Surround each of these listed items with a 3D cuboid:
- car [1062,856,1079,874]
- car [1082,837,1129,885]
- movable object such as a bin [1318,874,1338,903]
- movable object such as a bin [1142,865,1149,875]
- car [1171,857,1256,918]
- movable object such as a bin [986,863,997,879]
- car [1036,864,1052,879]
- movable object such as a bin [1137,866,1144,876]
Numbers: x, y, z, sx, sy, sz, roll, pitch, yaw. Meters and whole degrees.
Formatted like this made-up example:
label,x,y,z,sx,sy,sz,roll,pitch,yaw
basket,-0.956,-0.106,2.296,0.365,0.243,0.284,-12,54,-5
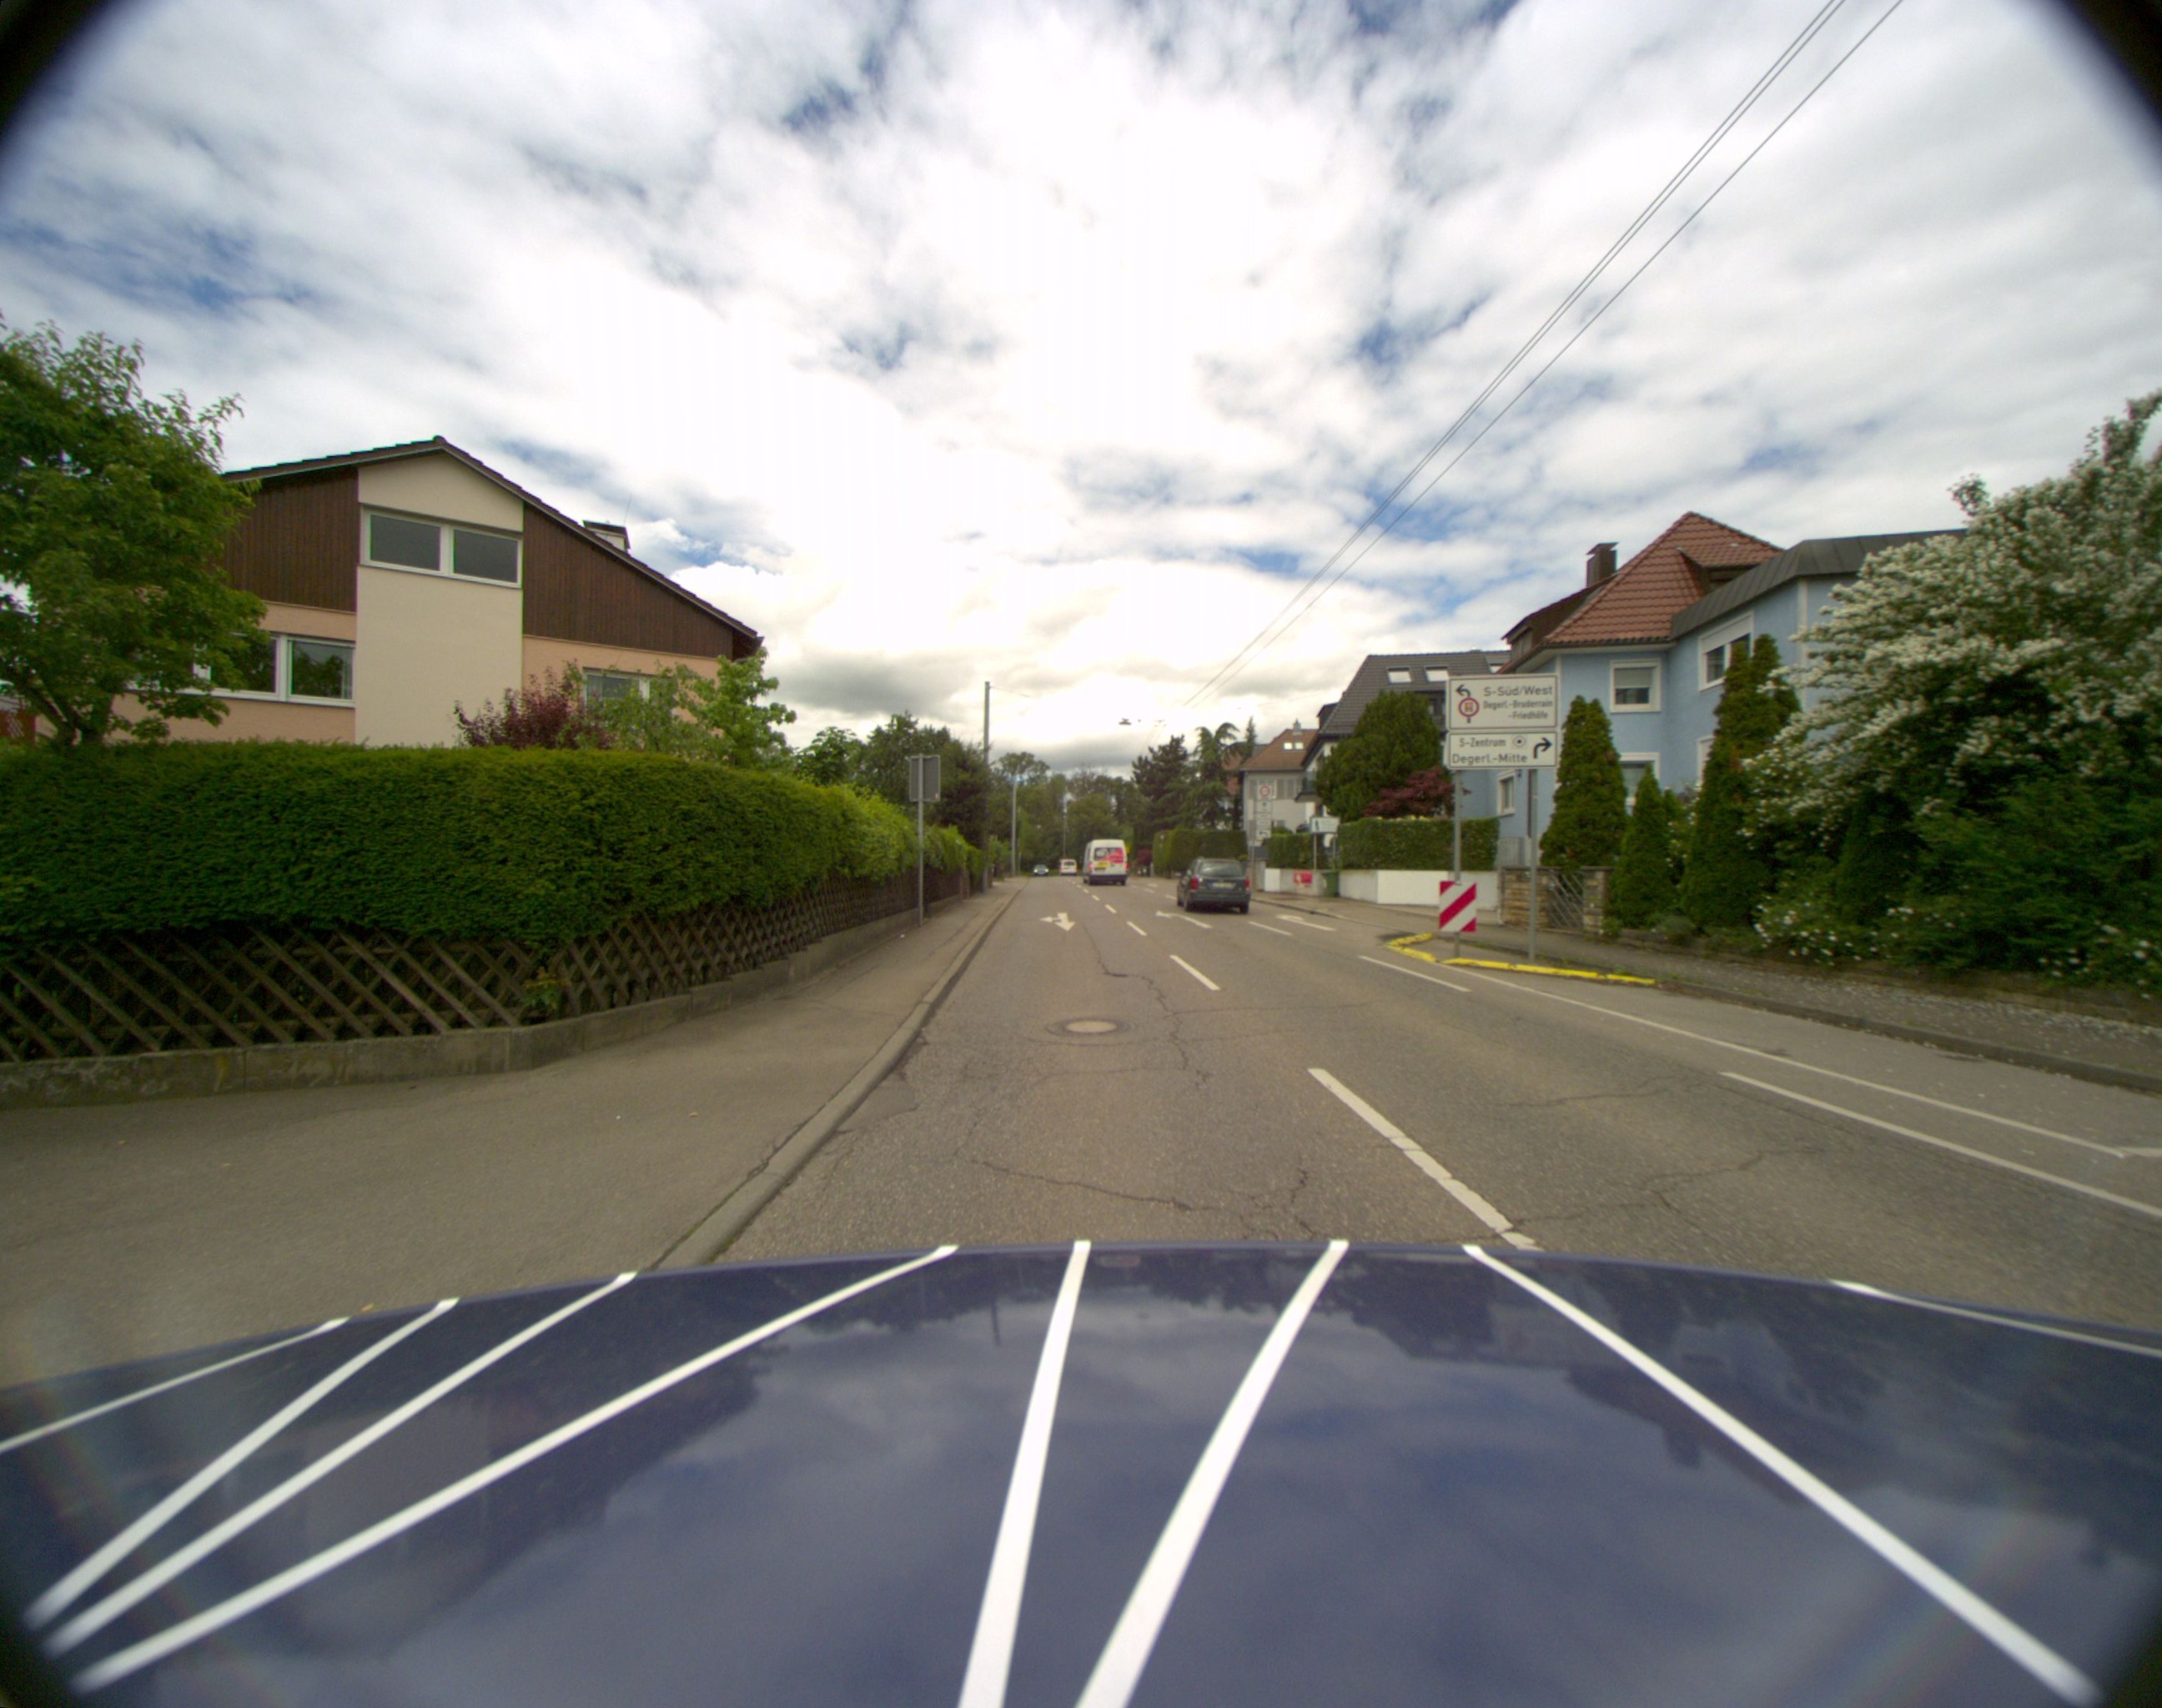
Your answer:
label,x,y,z,sx,sy,sz,roll,pitch,yaw
car,-1.298,1.383,91.901,1.863,2.035,5.171,1,-1,-4
car,1.291,0.404,42.948,2.117,2.483,6.122,1,0,-3
movable object such as a bin,8.420,1.174,25.918,0.509,0.967,0.540,1,0,0
movable object such as a bin,6.470,1.636,76.594,0.479,1.028,0.717,-1,-1,26
car,3.669,0.867,21.750,1.738,1.544,4.448,1,0,1
movable object such as a bin,-5.691,1.064,48.103,0.448,0.950,0.685,4,-1,-23
car,-4.786,2.258,97.754,1.864,1.855,4.609,1,-1,-6
movable object such as a bin,6.028,1.709,76.829,0.464,0.936,0.648,-1,-1,26
